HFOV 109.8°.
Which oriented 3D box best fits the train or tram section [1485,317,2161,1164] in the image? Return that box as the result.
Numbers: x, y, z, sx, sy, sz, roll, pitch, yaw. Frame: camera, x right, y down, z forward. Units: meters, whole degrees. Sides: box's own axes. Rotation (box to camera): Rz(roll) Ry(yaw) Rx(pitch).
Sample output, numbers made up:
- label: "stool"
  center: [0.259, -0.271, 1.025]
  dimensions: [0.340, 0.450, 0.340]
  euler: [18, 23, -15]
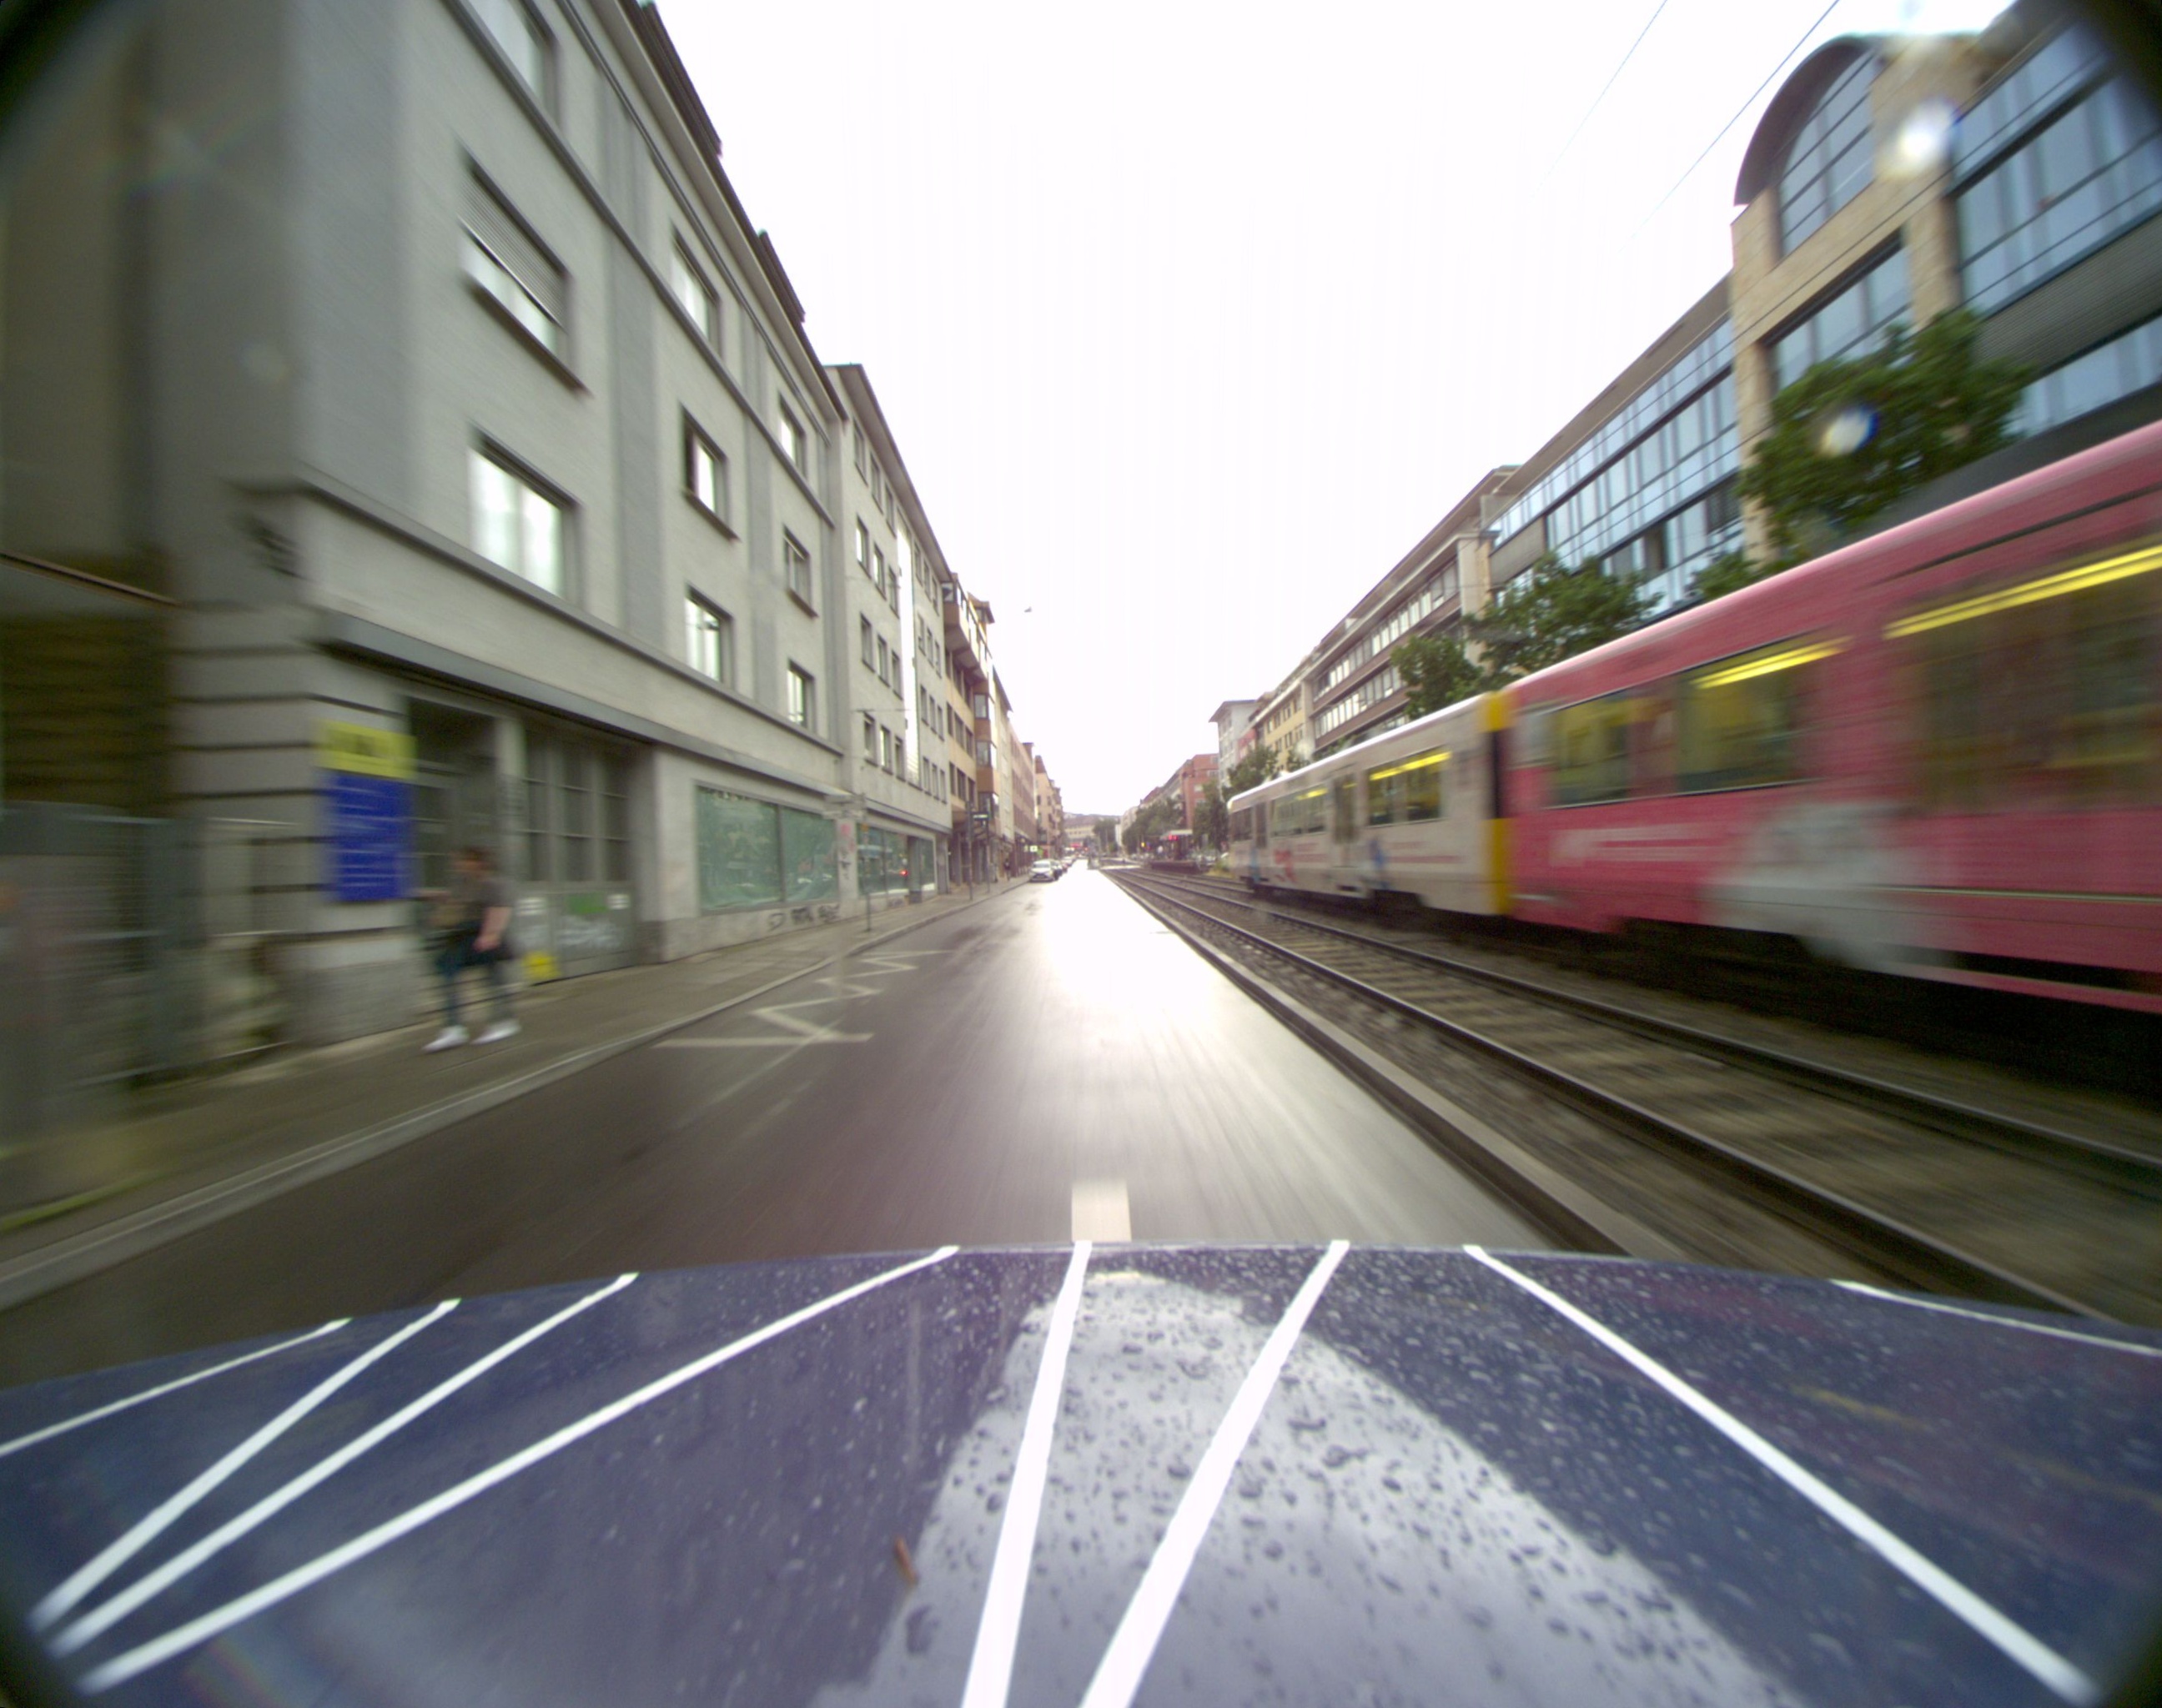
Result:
- label: "train or tram section"
  center: [6.588, -0.540, 0.252]
  dimensions: [2.909, 4.027, 18.766]
  euler: [-2, 0, 0]

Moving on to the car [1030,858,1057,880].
- label: "car"
  center: [-2.675, 1.041, 54.637]
  dimensions: [1.653, 1.489, 4.067]
  euler: [-2, 0, 1]

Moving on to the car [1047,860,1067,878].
- label: "car"
  center: [-2.303, 1.459, 73.805]
  dimensions: [1.653, 1.583, 4.067]
  euler: [-2, 0, 1]

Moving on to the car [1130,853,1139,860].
- label: "car"
  center: [14.733, 0.717, 209.238]
  dimensions: [1.999, 1.778, 4.000]
  euler: [-2, 0, -1]

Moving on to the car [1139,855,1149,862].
- label: "car"
  center: [14.827, 1.016, 178.232]
  dimensions: [1.999, 1.652, 4.000]
  euler: [-2, 0, -1]

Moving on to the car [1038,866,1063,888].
- label: "car"
  center: [-2.309, 1.763, 59.094]
  dimensions: [1.653, 1.583, 4.067]
  euler: [-2, 0, 1]

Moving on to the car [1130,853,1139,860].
- label: "car"
  center: [13.962, 0.698, 197.363]
  dimensions: [1.999, 1.778, 4.000]
  euler: [-2, 0, -1]

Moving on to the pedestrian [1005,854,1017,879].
- label: "pedestrian"
  center: [-4.902, 0.870, 53.103]
  dimensions: [0.640, 1.690, 0.883]
  euler: [-2, 0, 1]

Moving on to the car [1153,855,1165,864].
- label: "car"
  center: [16.038, 1.161, 157.044]
  dimensions: [1.999, 1.652, 4.000]
  euler: [-3, 0, -1]

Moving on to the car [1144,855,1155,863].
- label: "car"
  center: [15.157, 1.086, 168.407]
  dimensions: [1.999, 1.652, 4.000]
  euler: [-2, 0, -1]

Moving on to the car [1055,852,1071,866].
- label: "car"
  center: [-2.117, 0.551, 88.820]
  dimensions: [1.653, 1.583, 4.067]
  euler: [-2, 0, 1]

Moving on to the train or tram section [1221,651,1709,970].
- label: "train or tram section"
  center: [6.691, -0.630, 19.054]
  dimensions: [2.909, 4.027, 18.409]
  euler: [-2, 0, 0]

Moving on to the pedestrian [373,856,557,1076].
- label: "pedestrian"
  center: [-5.010, 0.870, 6.235]
  dimensions: [0.793, 1.649, 0.721]
  euler: [-4, 0, 0]

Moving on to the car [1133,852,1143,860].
- label: "car"
  center: [14.455, 0.530, 192.254]
  dimensions: [1.999, 1.778, 4.163]
  euler: [-2, 0, -1]

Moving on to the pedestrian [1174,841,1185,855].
- label: "pedestrian"
  center: [10.167, -0.607, 78.174]
  dimensions: [0.958, 1.377, 0.637]
  euler: [-2, 0, -2]

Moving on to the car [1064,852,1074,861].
- label: "car"
  center: [-2.267, 0.431, 144.103]
  dimensions: [1.653, 1.583, 4.067]
  euler: [-2, 0, 1]
